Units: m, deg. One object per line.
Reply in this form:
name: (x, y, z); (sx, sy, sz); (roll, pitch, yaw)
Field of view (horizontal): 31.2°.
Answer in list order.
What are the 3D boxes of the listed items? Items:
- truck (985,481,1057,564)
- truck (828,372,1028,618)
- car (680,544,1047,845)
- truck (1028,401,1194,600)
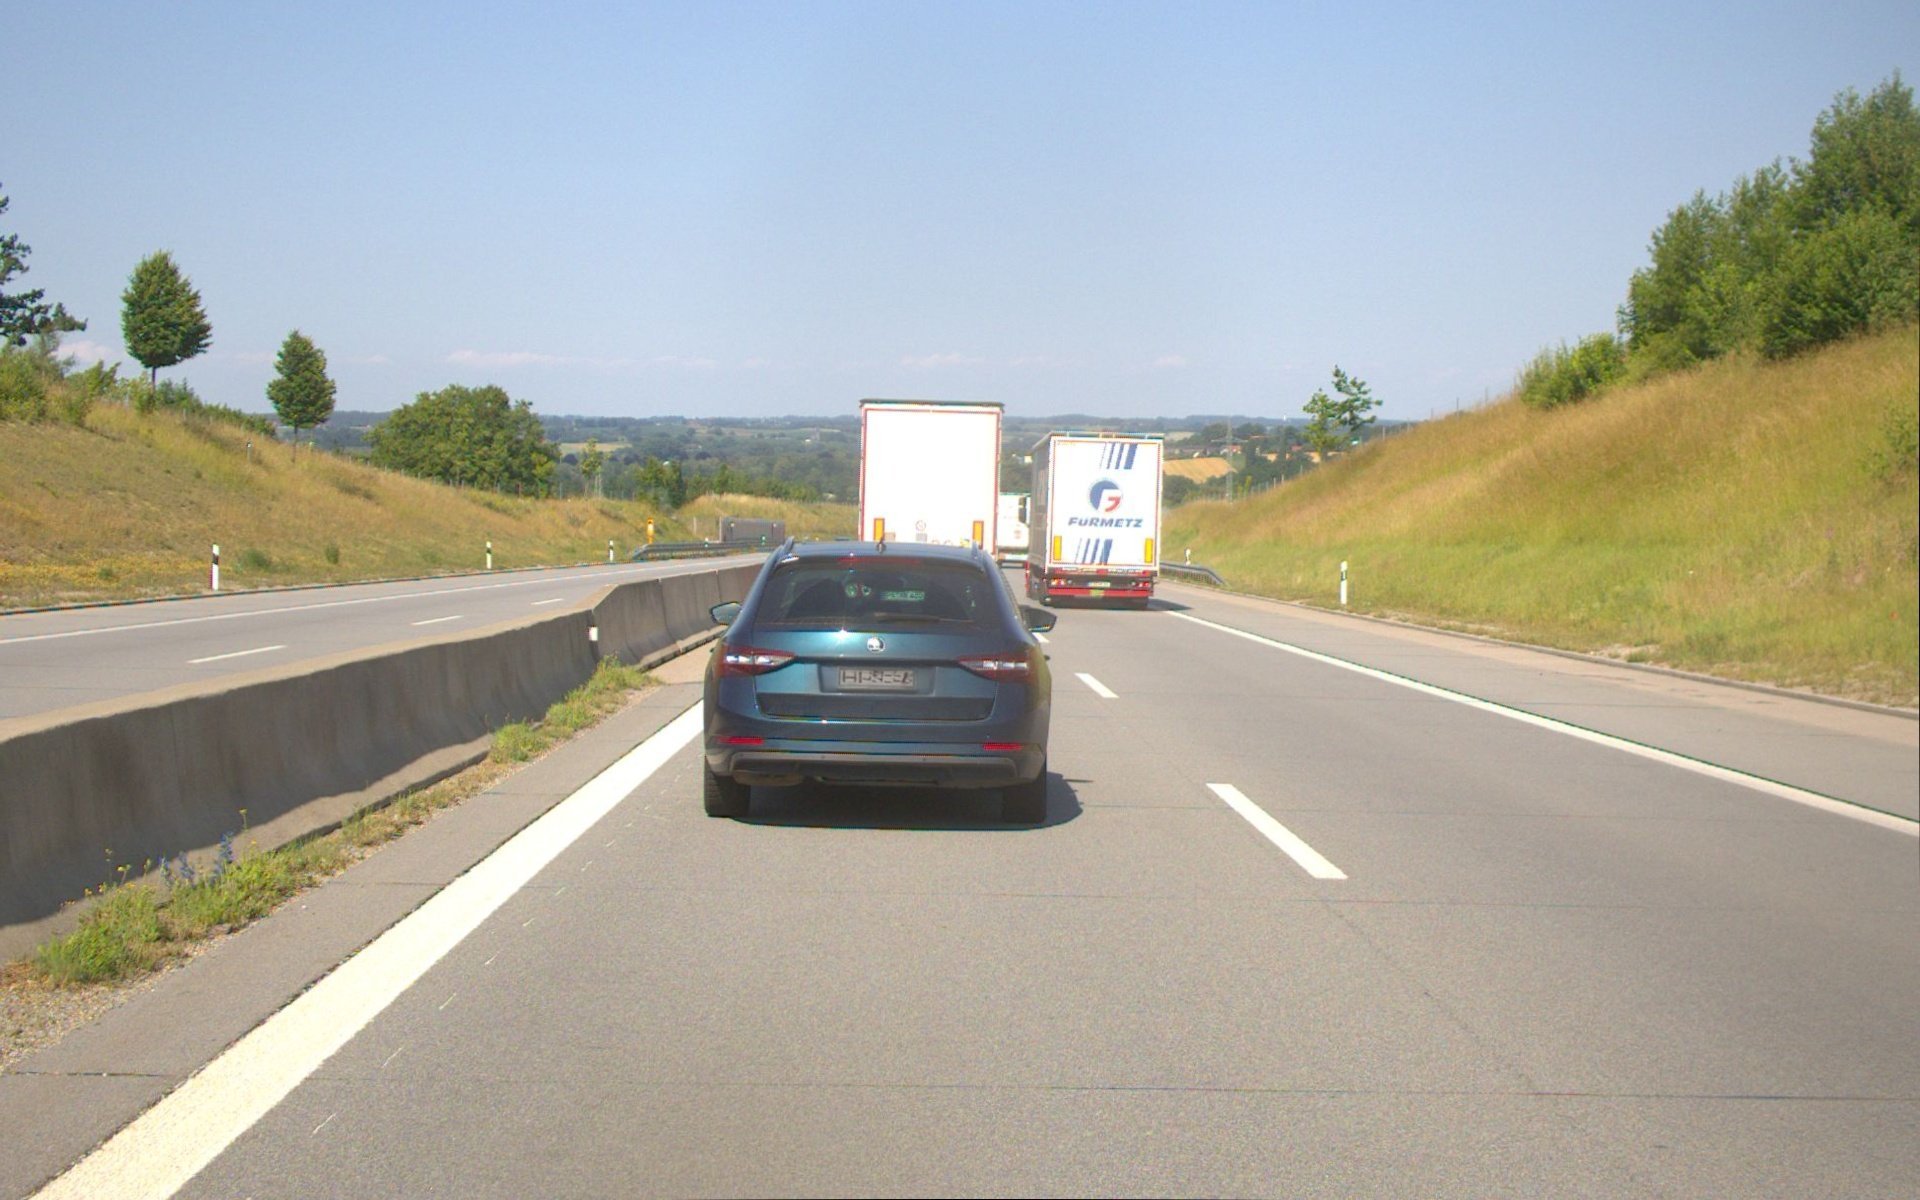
truck: (3.429, -4.246, 189.265); (3.604, 4.366, 11.233); (-1, 1, 2)
truck: (-0.468, -2.002, 67.393); (3.211, 4.366, 11.233); (-1, 1, 3)
car: (-0.513, 0.432, 18.601); (1.776, 1.436, 3.789); (0, 1, -1)
truck: (3.578, -2.331, 81.905); (3.604, 4.366, 11.233); (-1, 1, 2)
